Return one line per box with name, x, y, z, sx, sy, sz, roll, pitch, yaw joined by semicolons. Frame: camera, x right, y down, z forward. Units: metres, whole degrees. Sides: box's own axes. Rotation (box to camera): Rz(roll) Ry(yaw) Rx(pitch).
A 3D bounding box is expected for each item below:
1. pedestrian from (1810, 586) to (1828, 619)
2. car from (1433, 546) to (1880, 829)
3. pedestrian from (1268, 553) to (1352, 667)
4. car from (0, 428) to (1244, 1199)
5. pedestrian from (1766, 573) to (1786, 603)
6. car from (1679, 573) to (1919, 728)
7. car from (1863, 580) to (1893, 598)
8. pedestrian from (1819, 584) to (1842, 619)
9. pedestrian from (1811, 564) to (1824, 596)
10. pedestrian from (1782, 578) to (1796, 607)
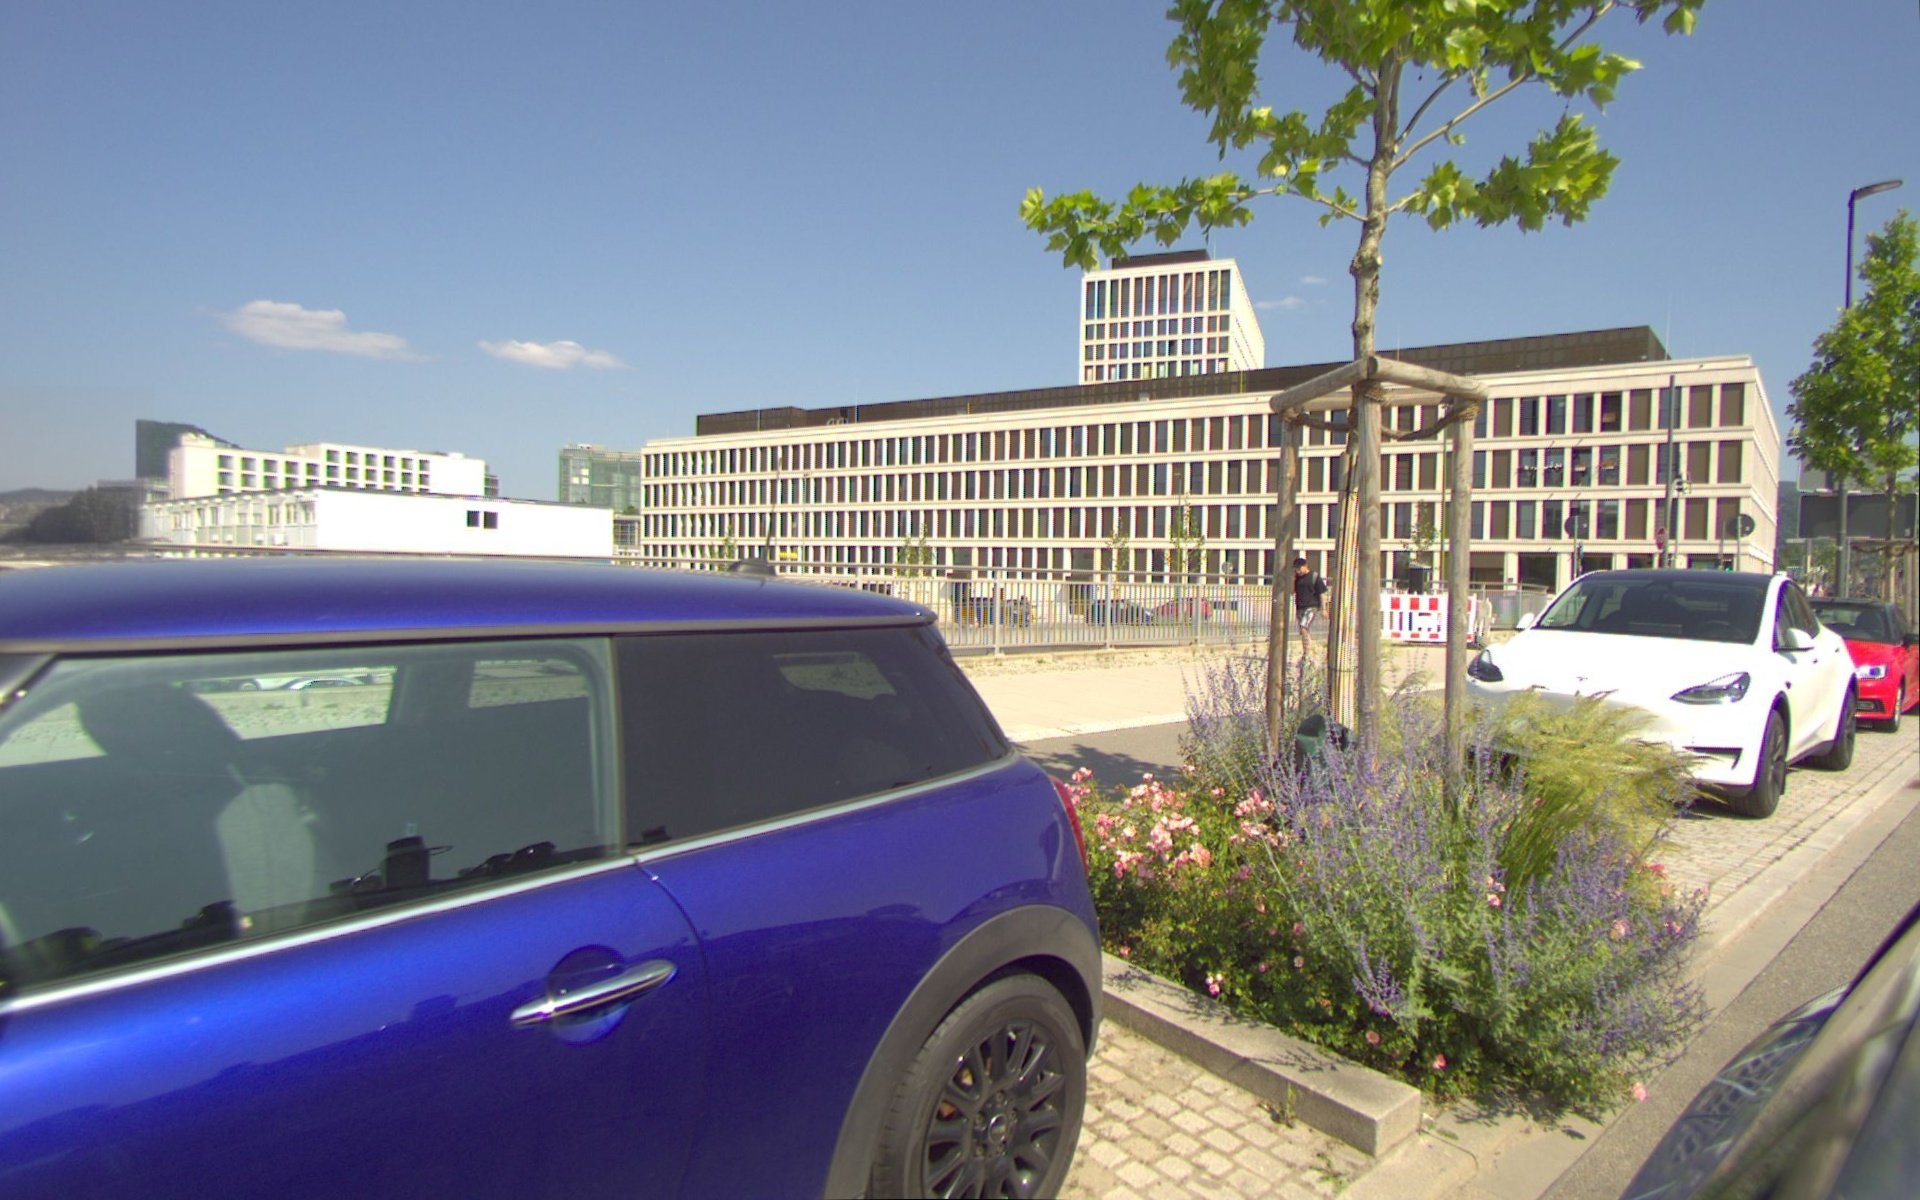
pedestrian;46.485;0.111;54.743;0.700;1.745;0.784;1;0;43
car;5.830;0.486;8.187;4.792;1.647;1.875;0;1;-41
pedestrian;5.295;0.127;15.300;0.932;1.628;0.752;0;4;-41
car;-1.582;0.544;1.646;4.083;1.497;1.913;0;2;-39
pedestrian;49.699;-0.752;61.631;0.824;1.805;0.913;3;3;41
car;10.367;0.482;12.099;3.930;1.538;1.997;0;1;-41
car;79.464;-0.956;87.618;1.804;1.527;3.941;1;1;41
pedestrian;46.618;0.073;54.192;0.877;1.849;1.639;1;1;42
pedestrian;51.293;-1.213;60.552;0.576;1.762;0.982;1;-10;41
pedestrian;50.387;-0.454;61.513;0.576;1.741;0.982;-2;0;41
